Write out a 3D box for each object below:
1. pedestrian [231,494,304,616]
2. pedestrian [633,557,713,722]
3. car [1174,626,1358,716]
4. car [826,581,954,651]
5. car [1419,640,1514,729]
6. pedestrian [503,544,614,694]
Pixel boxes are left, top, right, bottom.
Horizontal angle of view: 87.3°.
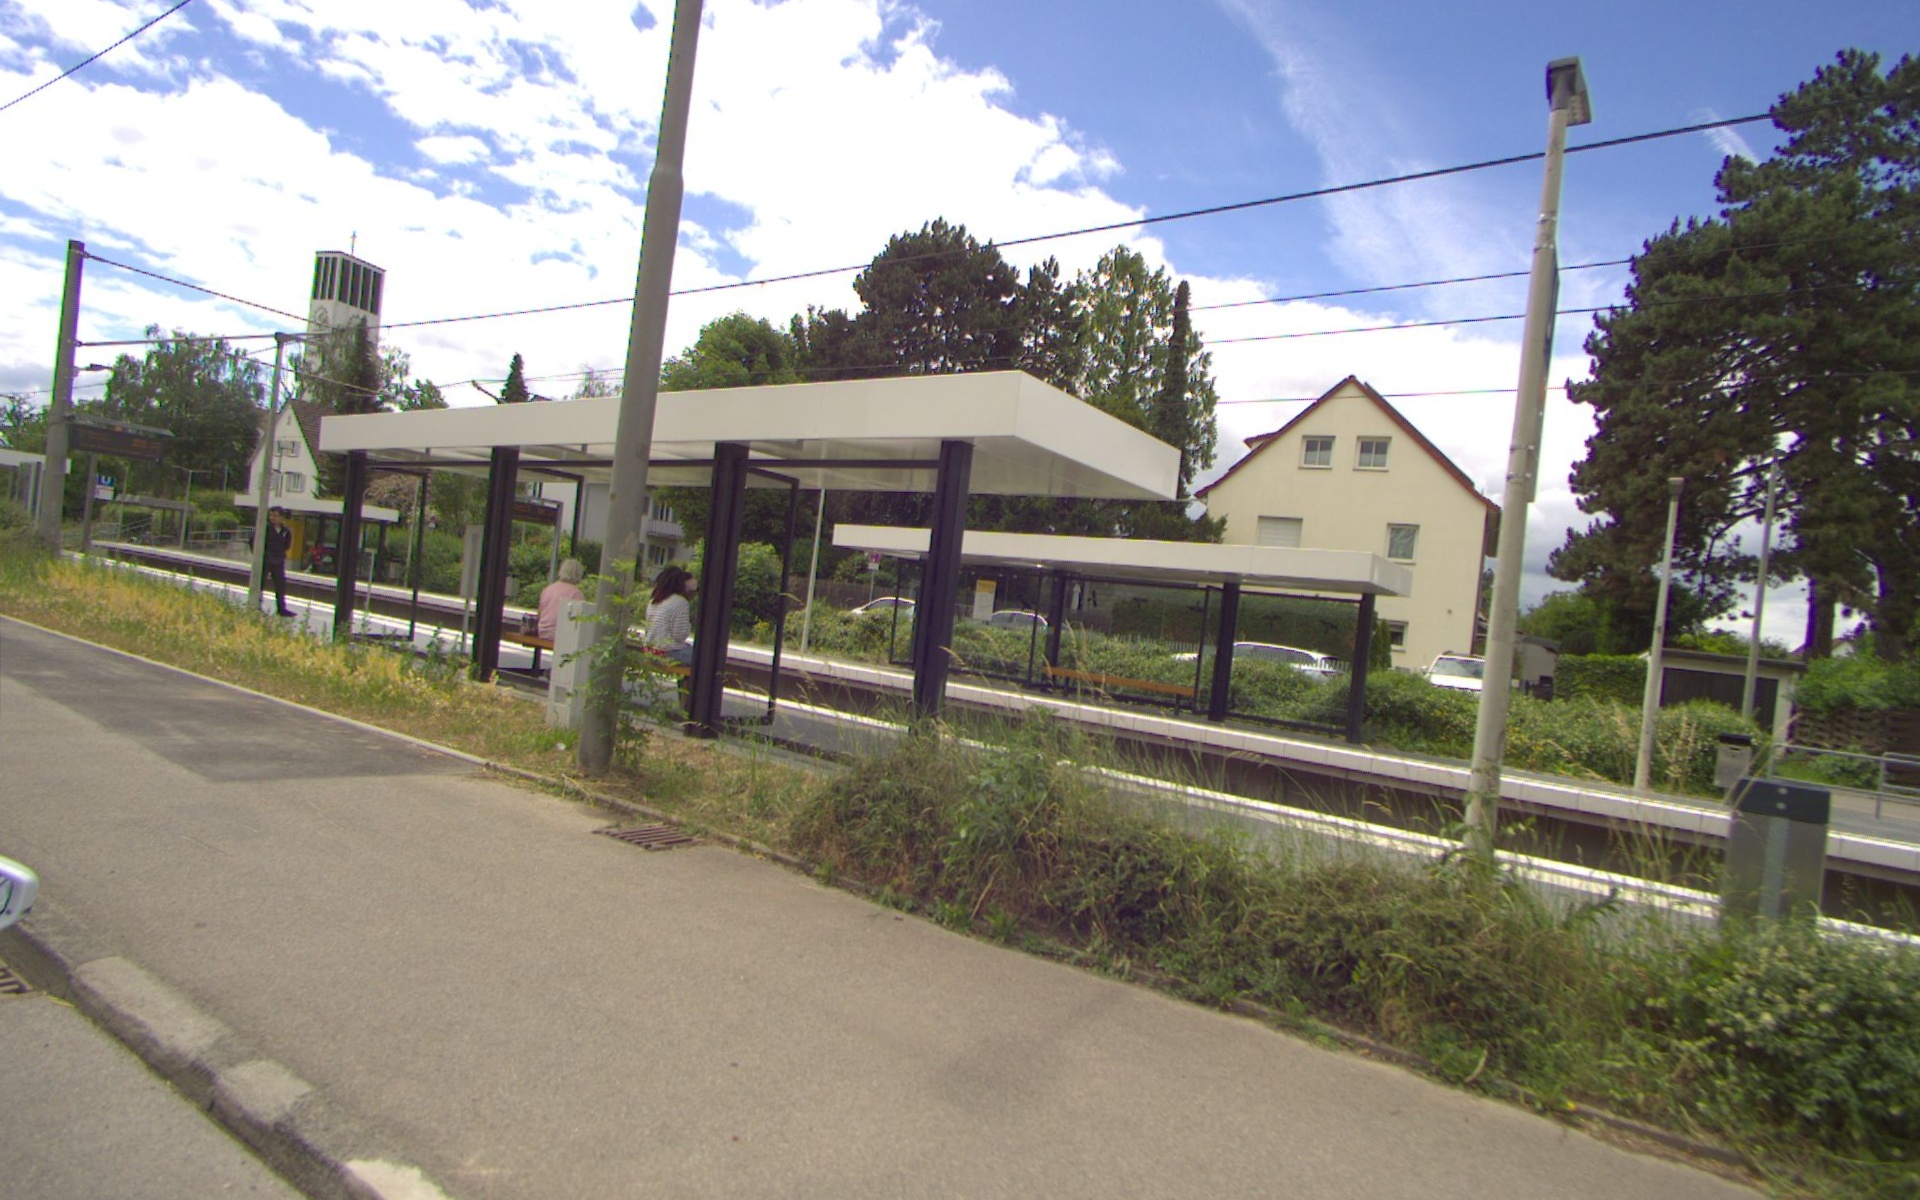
[{"bbox_3d":[-10.571,-0.688,15.350,0.646,1.745,0.636,7,-1,44],"label":"pedestrian"},{"bbox_3d":[-2.514,0.339,8.800,0.480,1.360,0.394,7,0,-21],"label":"pedestrian"},{"bbox_3d":[7.656,1.759,25.254,3.934,1.682,1.779,7,-1,32],"label":"car"},{"bbox_3d":[-2.321,0.511,33.003,3.877,1.772,1.732,6,-2,39],"label":"car"},{"bbox_3d":[13.444,2.147,26.588,1.717,1.969,4.329,7,2,31],"label":"car"},{"bbox_3d":[-4.057,0.196,10.173,0.727,1.396,0.583,7,0,33],"label":"pedestrian"}]
